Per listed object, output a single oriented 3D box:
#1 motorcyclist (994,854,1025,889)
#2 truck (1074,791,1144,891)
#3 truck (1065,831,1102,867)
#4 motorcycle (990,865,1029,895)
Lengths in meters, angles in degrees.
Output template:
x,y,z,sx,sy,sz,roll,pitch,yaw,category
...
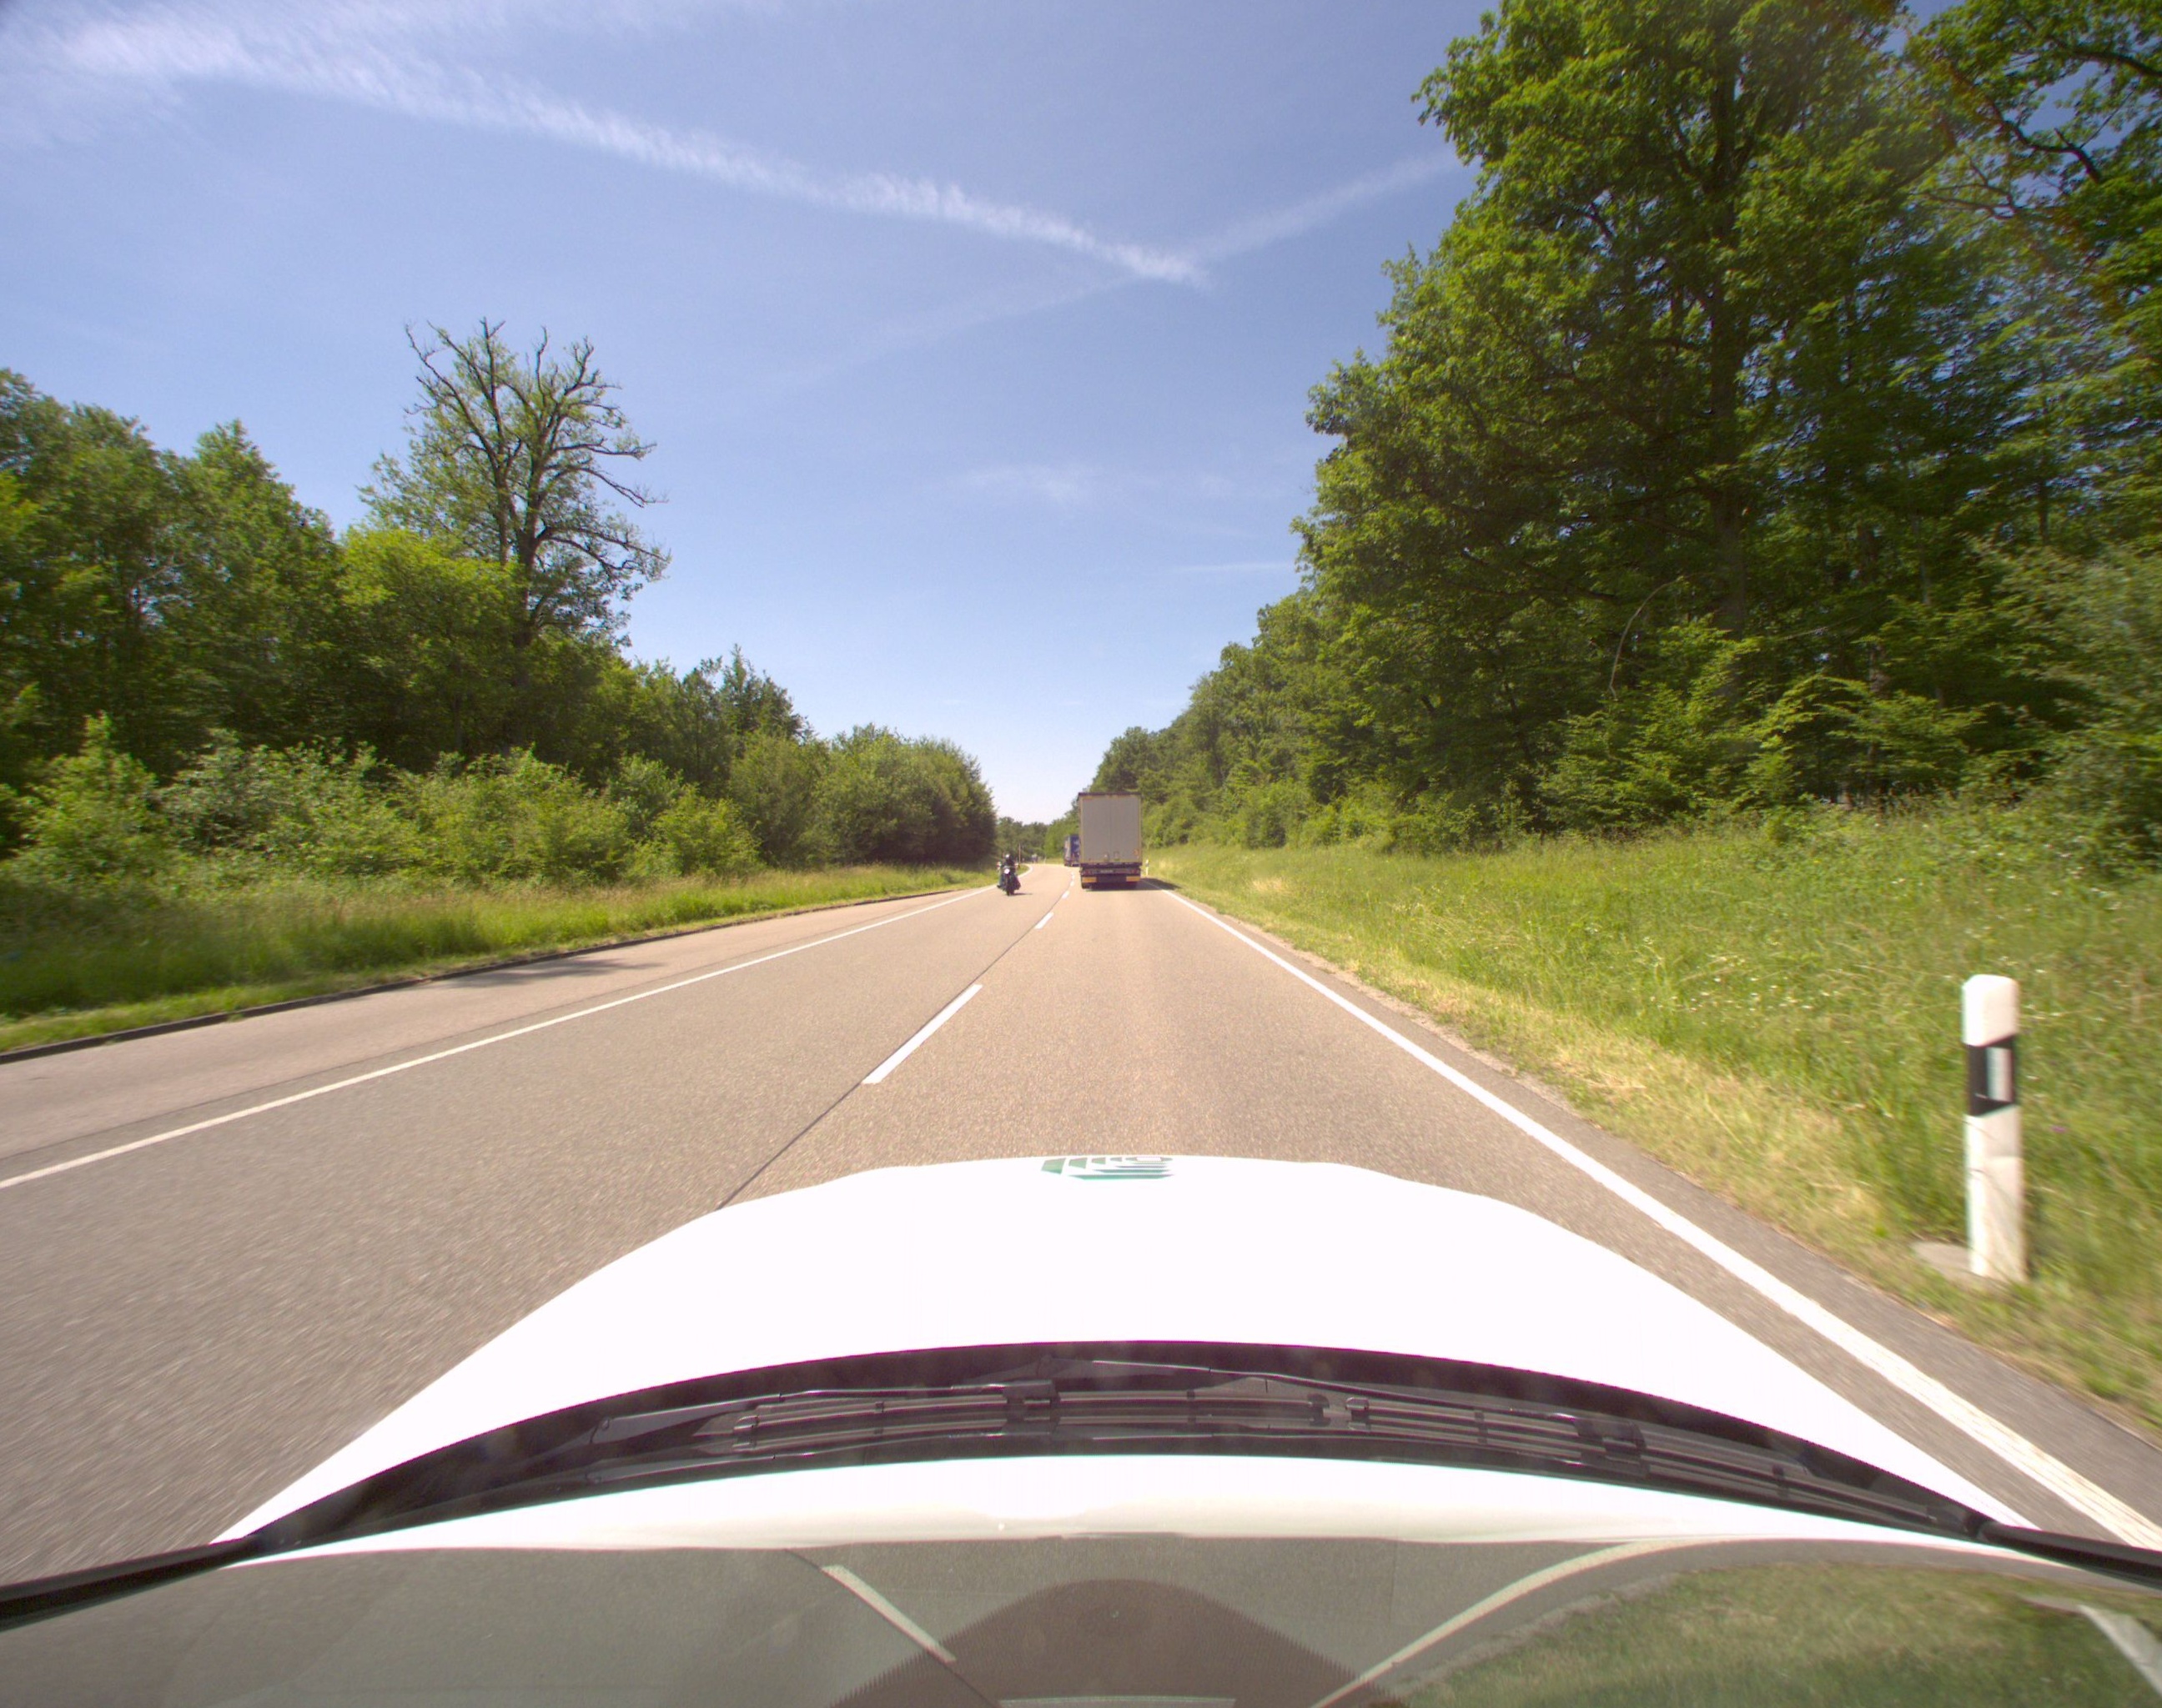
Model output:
x,y,z,sx,sy,sz,roll,pitch,yaw,category
-2.778,0.674,31.591,1.004,1.327,0.967,-1,0,6,motorcyclist
1.264,-0.512,38.677,2.751,3.947,12.200,-1,0,1,truck
0.133,-0.581,104.649,3.785,4.373,14.900,0,0,-3,truck
-2.758,0.985,31.688,1.009,1.062,2.777,-1,0,6,motorcycle
